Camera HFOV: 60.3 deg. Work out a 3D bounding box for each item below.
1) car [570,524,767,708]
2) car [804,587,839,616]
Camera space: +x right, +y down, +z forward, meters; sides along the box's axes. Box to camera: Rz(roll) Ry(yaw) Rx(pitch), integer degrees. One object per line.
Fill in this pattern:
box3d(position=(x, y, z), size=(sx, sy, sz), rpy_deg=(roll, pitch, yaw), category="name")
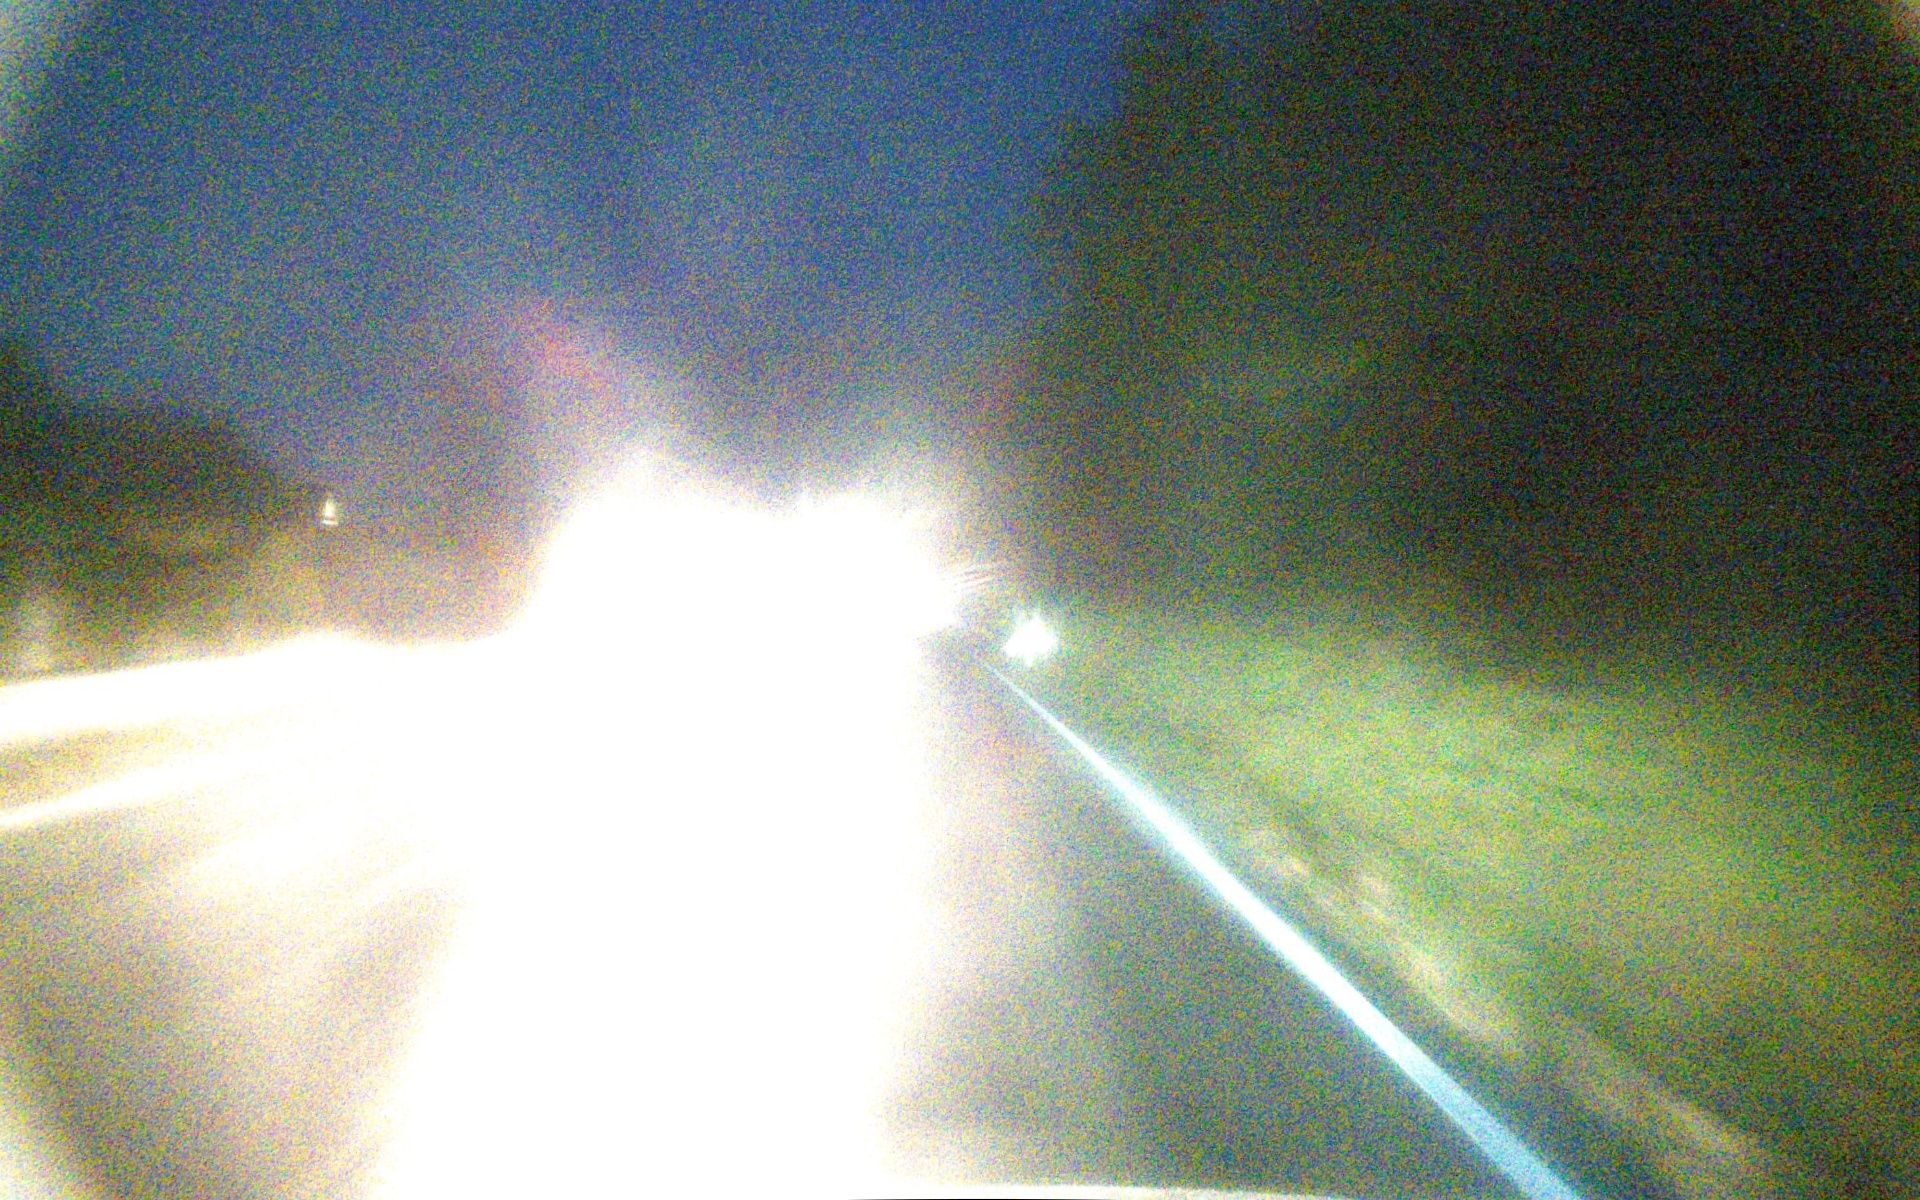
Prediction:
box3d(position=(-4.023, 0.173, 23.732), size=(1.953, 2.312, 5.466), rpy_deg=(1, 1, -1), category="car")
box3d(position=(-8.180, 0.054, 97.842), size=(1.887, 1.602, 4.345), rpy_deg=(1, 1, -3), category="car")
